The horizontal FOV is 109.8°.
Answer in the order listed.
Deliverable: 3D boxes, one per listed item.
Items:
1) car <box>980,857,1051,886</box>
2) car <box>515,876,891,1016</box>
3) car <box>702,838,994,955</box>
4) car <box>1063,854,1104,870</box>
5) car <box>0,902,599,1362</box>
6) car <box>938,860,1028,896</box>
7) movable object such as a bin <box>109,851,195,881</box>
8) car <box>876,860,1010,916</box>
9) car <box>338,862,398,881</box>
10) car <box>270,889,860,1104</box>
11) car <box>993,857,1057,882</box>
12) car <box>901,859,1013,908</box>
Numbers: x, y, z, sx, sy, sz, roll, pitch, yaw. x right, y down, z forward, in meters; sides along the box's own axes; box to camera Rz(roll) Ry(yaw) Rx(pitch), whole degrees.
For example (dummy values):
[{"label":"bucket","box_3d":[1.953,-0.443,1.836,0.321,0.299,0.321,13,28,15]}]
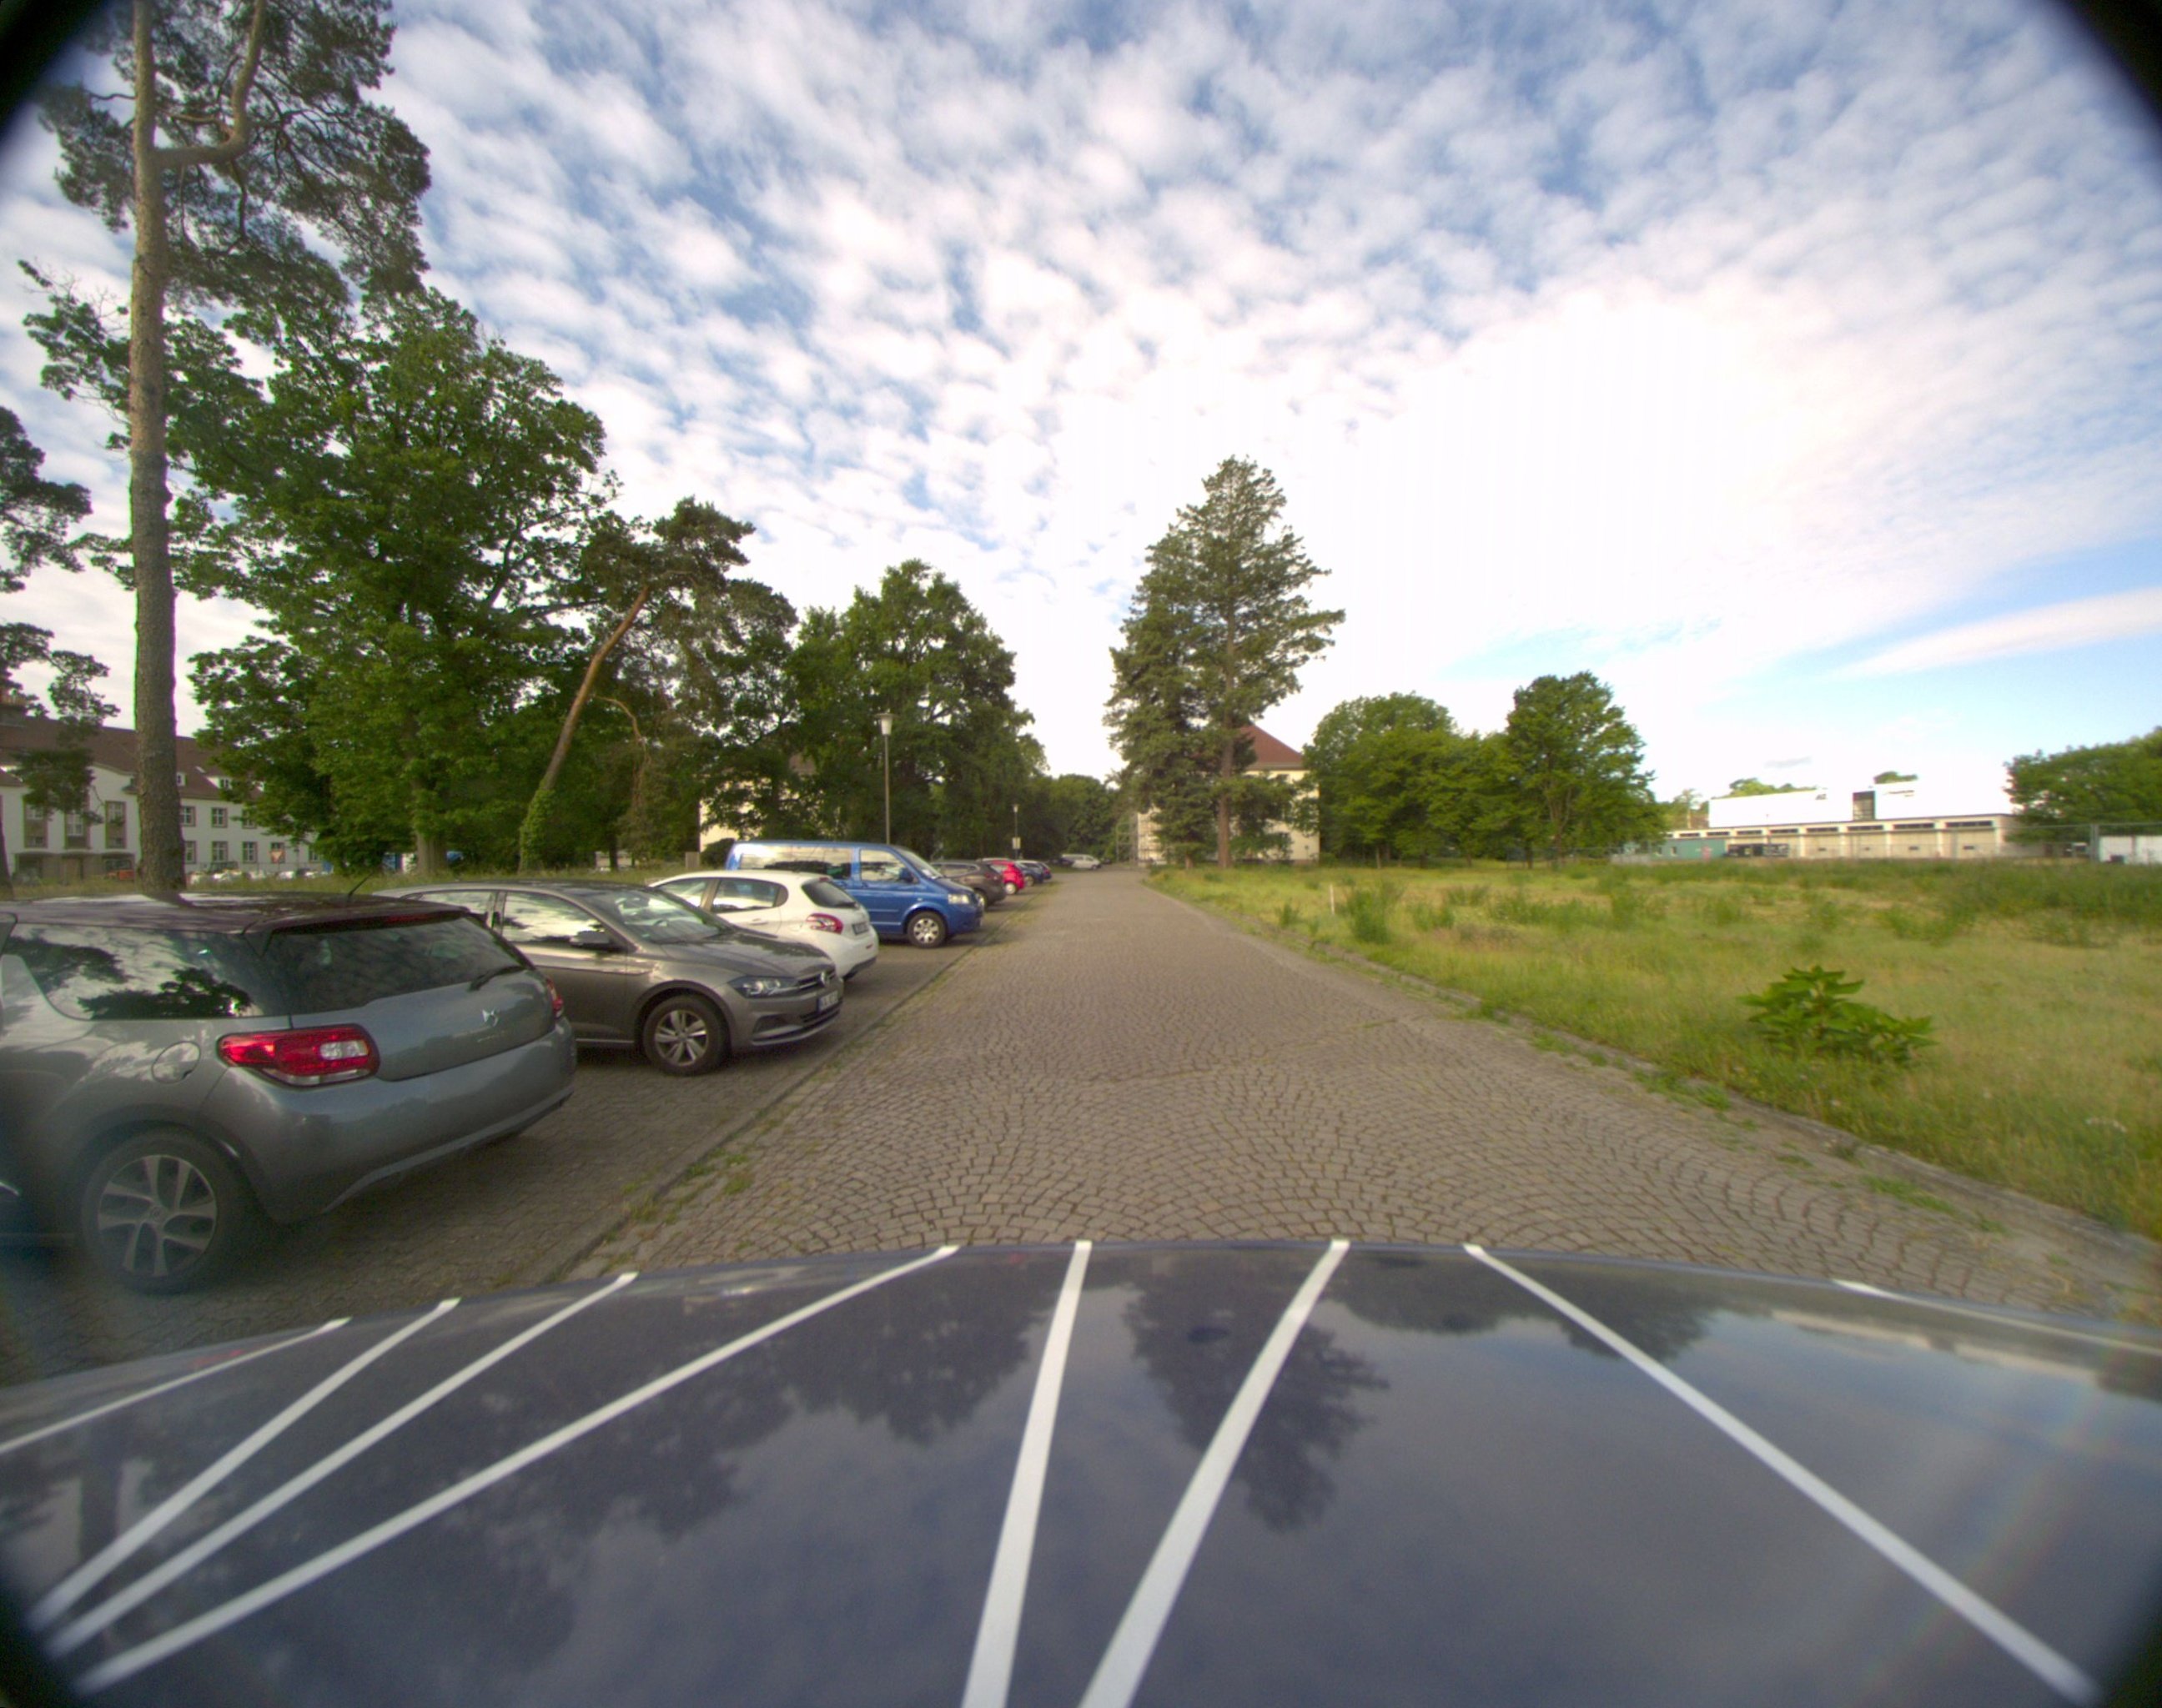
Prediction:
[{"label":"car","box_3d":[-3.788,0.981,44.116,3.836,1.609,1.582,-1,0,5]},{"label":"car","box_3d":[-4.411,1.051,9.223,3.761,1.490,1.581,-1,0,2]},{"label":"car","box_3d":[-4.321,0.757,14.677,4.953,2.011,2.060,1,0,2]},{"label":"car","box_3d":[0.332,0.989,97.530,5.129,2.002,1.804,-1,0,-1]},{"label":"car","box_3d":[-4.632,1.037,3.452,3.837,1.494,1.604,-1,0,0]},{"label":"car","box_3d":[-4.294,1.051,33.714,3.838,1.516,1.581,-1,0,-3]},{"label":"movable object such as a bin","box_3d":[-89.553,1.140,73.367,1.999,2.752,5.202,-1,0,-4]},{"label":"car","box_3d":[-4.166,1.000,23.323,3.838,1.592,1.581,-1,0,-3]},{"label":"car","box_3d":[-67.196,1.659,71.656,1.847,1.674,3.937,1,0,4]},{"label":"car","box_3d":[-3.989,1.073,6.302,3.781,1.457,1.643,-1,0,2]},{"label":"car","box_3d":[-3.587,0.982,48.875,3.836,1.520,1.674,-1,0,5]},{"label":"car","box_3d":[-4.210,0.996,26.246,3.634,1.592,1.581,-1,0,-3]}]
